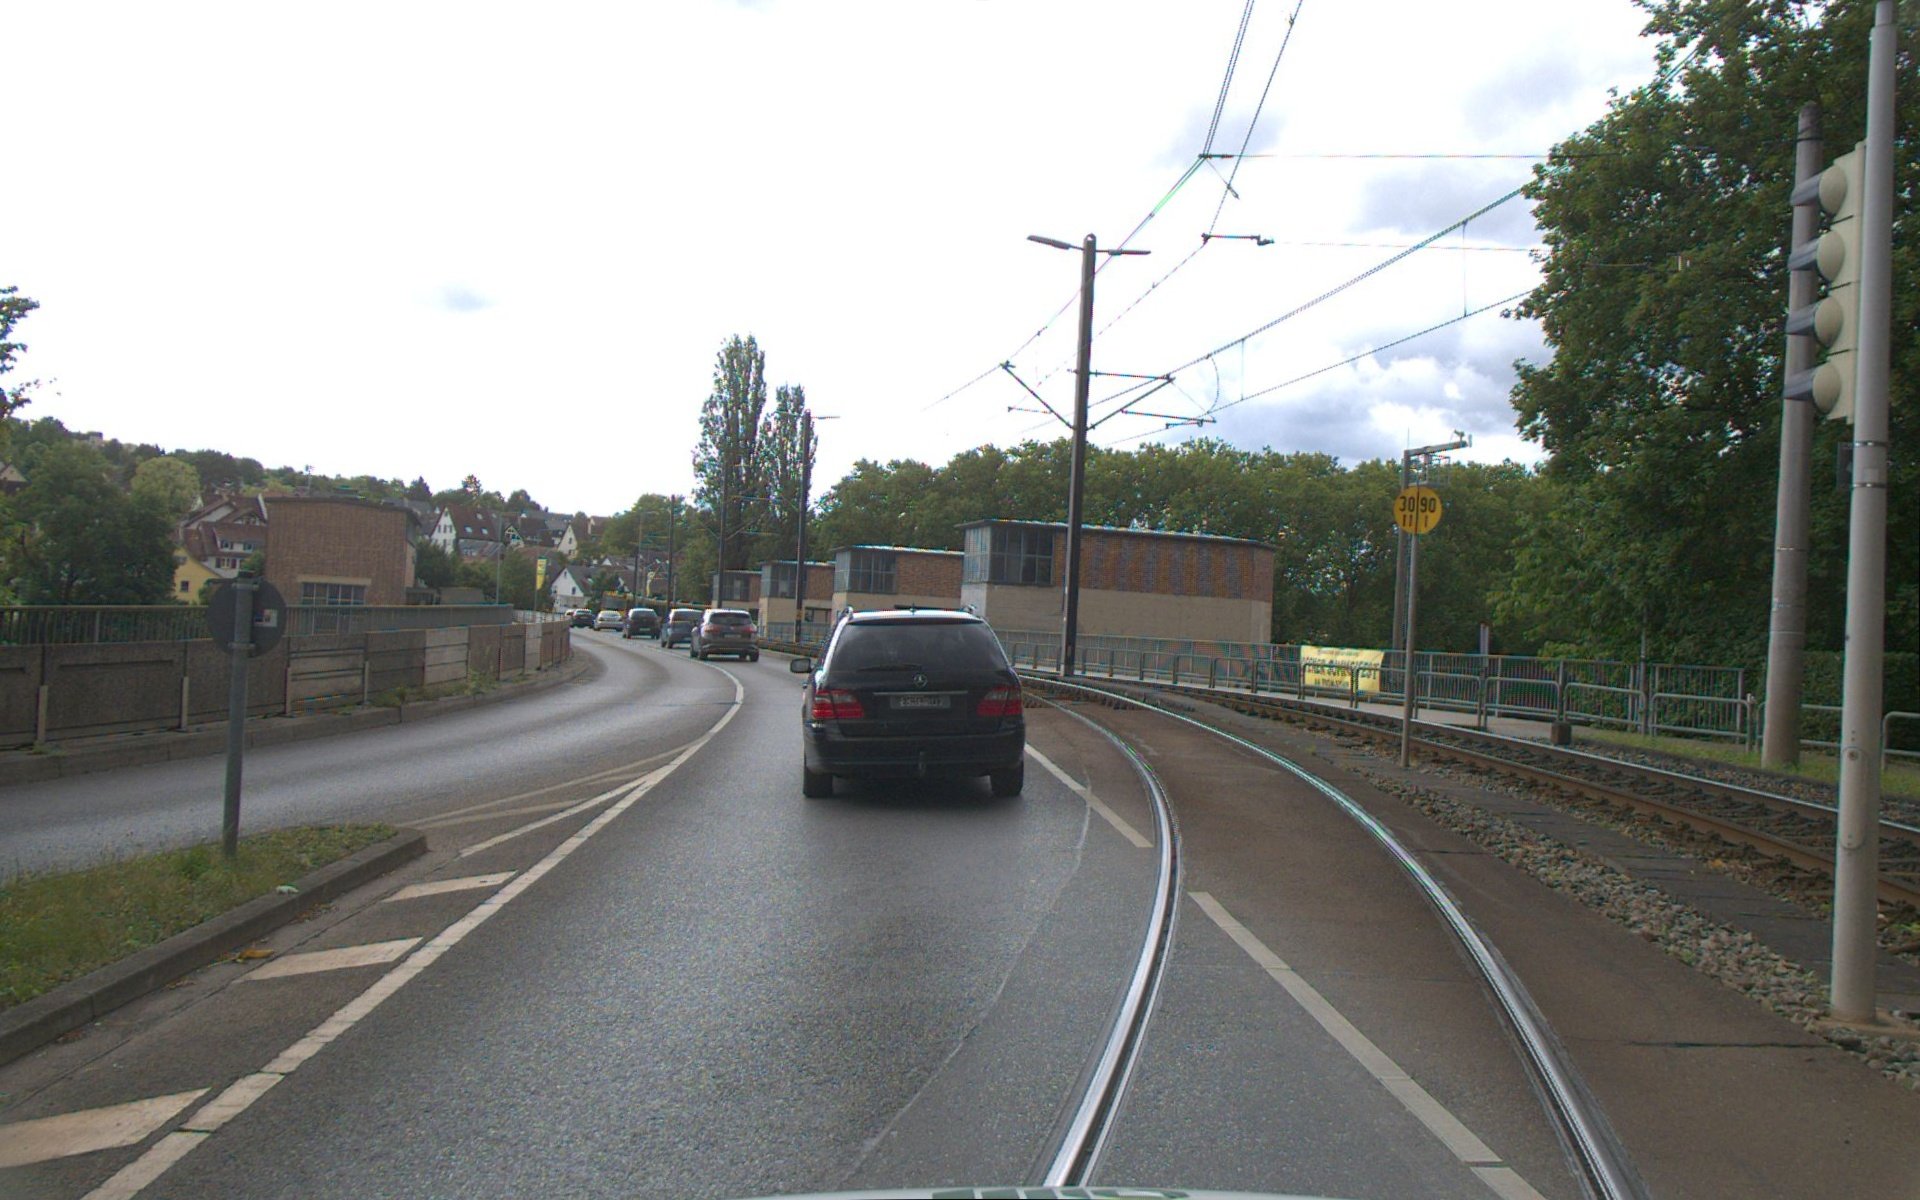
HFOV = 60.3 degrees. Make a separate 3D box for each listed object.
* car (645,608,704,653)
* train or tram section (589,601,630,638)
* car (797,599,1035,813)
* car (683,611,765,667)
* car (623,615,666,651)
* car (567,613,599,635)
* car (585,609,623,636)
[{"bbox_3d":[-11.110,1.151,64.117,1.959,1.592,4.980,0,1,-13],"label":"car"},{"bbox_3d":[-36.868,2.048,173.470,2.836,3.571,18.581,1,-1,-16],"label":"train or tram section"},{"bbox_3d":[-0.320,0.783,14.326,1.723,1.542,4.442,1,0,0],"label":"car"},{"bbox_3d":[-7.217,1.162,50.260,1.743,1.583,4.219,3,-1,-18],"label":"car"},{"bbox_3d":[-15.704,1.608,82.151,1.959,1.702,4.526,1,0,-13],"label":"car"},{"bbox_3d":[-29.795,1.889,130.637,1.963,1.598,4.880,4,-1,-18],"label":"car"},{"bbox_3d":[-23.258,1.441,107.963,1.962,1.598,4.881,4,-1,-17],"label":"car"}]
